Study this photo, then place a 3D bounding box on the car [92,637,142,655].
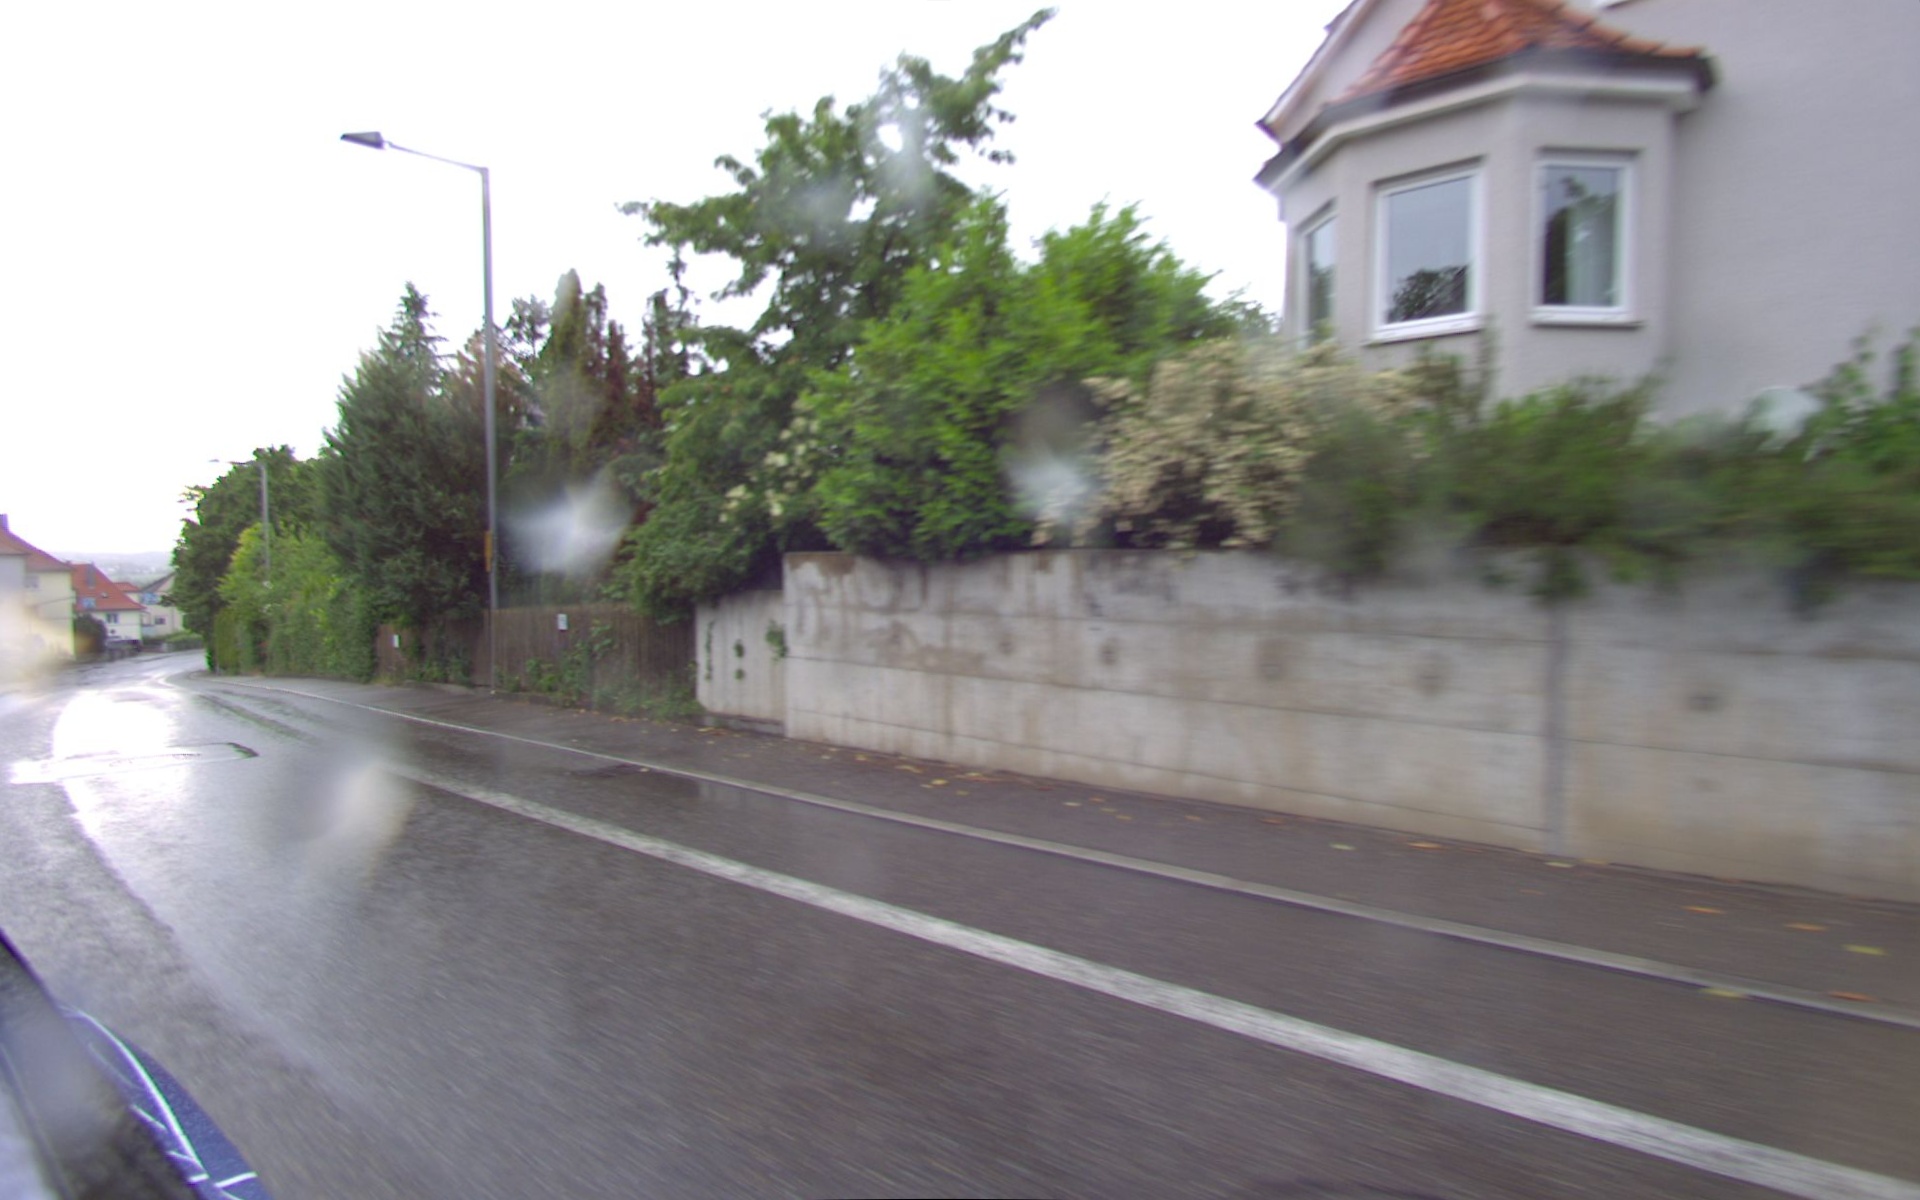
[{"bbox_3d":[-93.458,5.065,112.243,1.767,1.795,3.889,1,0,34],"label":"car"}]
